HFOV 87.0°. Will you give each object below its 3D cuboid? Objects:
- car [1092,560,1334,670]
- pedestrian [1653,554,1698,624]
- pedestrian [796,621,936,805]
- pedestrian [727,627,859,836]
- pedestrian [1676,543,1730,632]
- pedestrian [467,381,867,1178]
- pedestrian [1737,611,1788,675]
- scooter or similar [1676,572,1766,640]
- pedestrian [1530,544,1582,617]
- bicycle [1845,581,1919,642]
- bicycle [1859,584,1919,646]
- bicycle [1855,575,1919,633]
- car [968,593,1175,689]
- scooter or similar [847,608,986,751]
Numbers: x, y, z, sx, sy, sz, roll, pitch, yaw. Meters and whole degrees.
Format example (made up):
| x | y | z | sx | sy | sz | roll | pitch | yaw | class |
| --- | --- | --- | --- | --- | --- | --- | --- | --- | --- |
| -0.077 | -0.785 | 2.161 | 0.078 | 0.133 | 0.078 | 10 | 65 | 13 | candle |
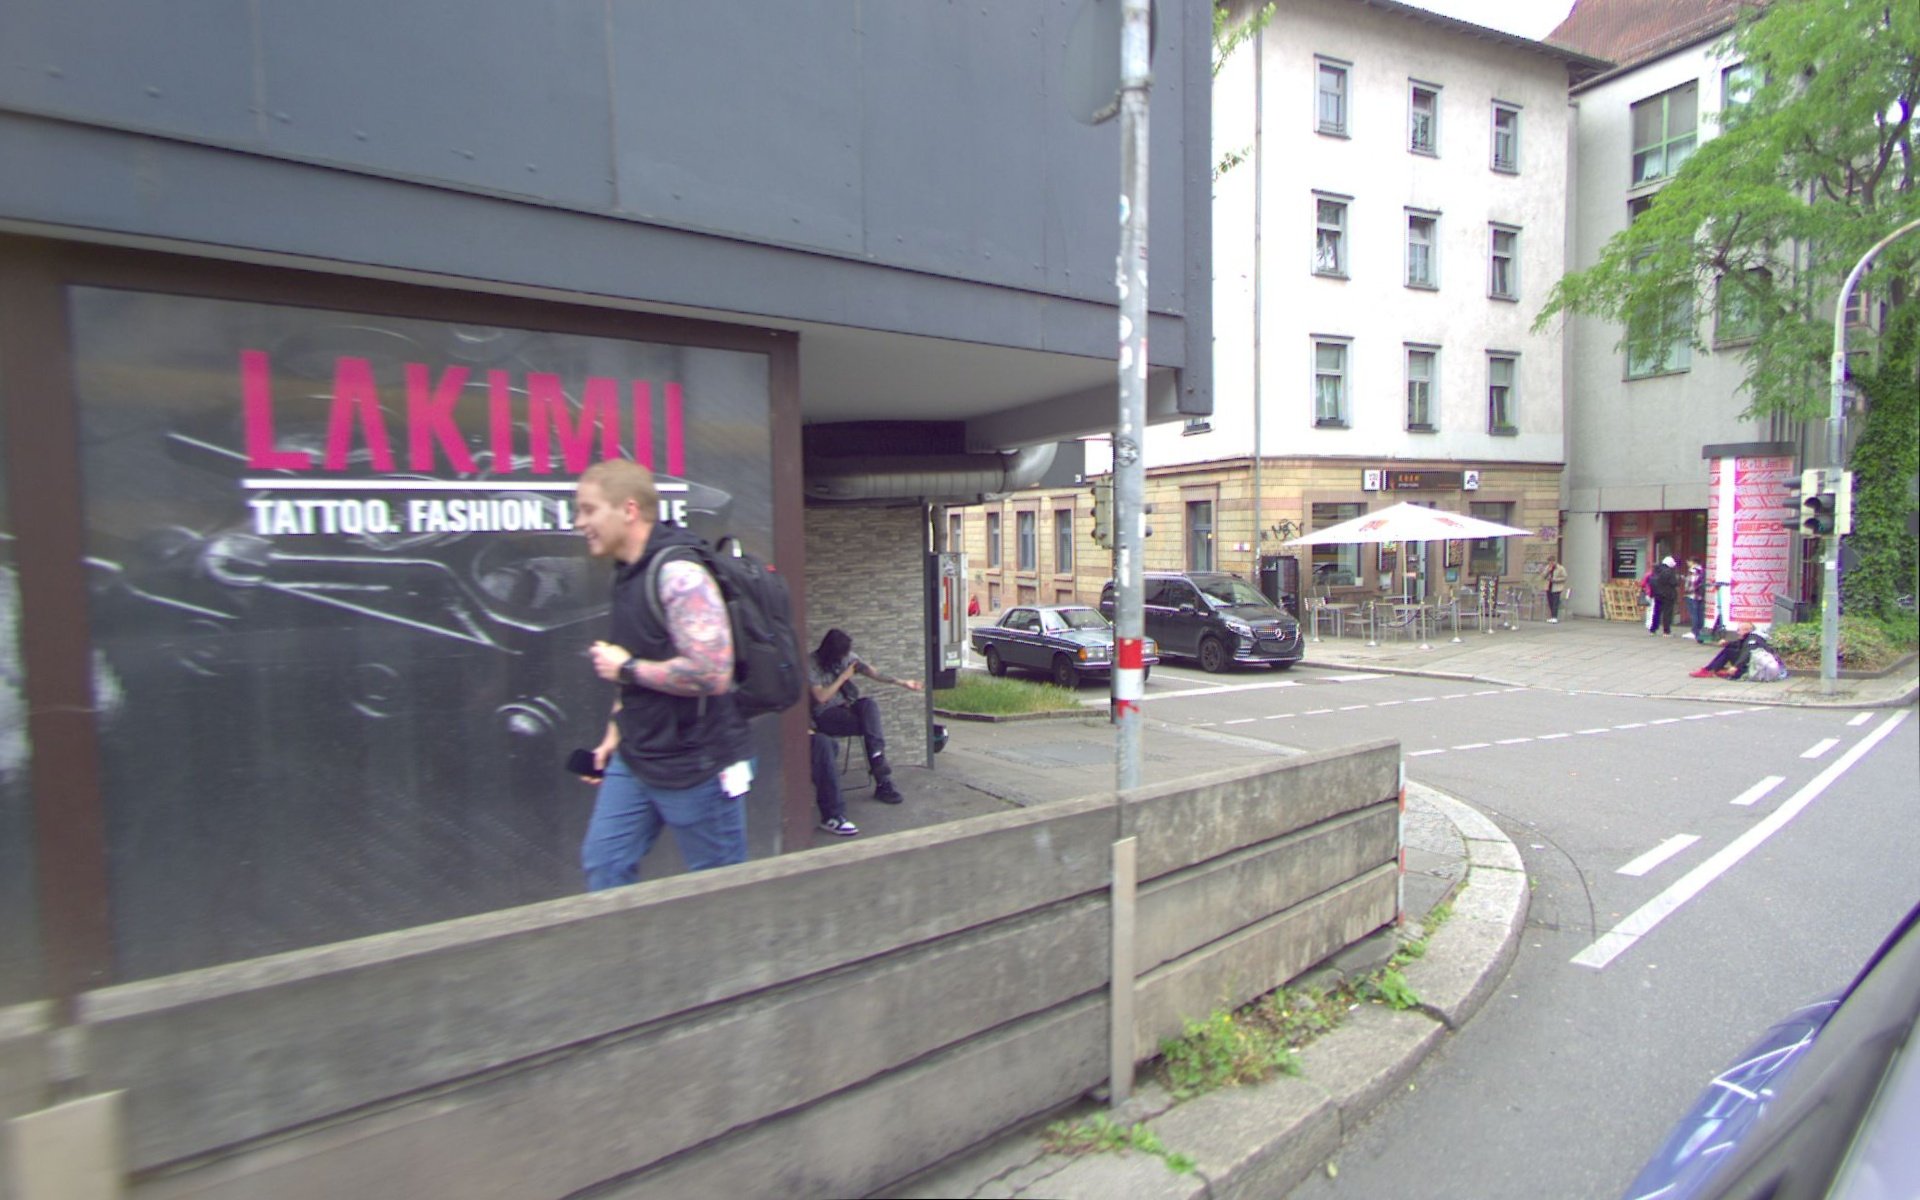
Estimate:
| x | y | z | sx | sy | sz | roll | pitch | yaw | class |
| --- | --- | --- | --- | --- | --- | --- | --- | --- | --- |
| 5.006 | 0.228 | 20.919 | 1.959 | 1.930 | 5.160 | -2 | 2 | -26 | car |
| 15.883 | -0.249 | 22.471 | 0.652 | 1.542 | 0.625 | 0 | 1 | -35 | pedestrian |
| -0.728 | 0.784 | 7.537 | 0.727 | 1.203 | 1.111 | 0 | 0 | -23 | pedestrian |
| -1.127 | 0.829 | 6.759 | 0.703 | 1.251 | 0.738 | 0 | 0 | -25 | pedestrian |
| 16.256 | -0.277 | 22.146 | 0.863 | 1.913 | 0.707 | 0 | 1 | -36 | pedestrian |
| -0.825 | 0.399 | 2.853 | 0.868 | 1.808 | 0.722 | -1 | 1 | -40 | pedestrian |
| 12.023 | 0.628 | 15.160 | 0.572 | 0.922 | 0.485 | 0 | 1 | -38 | pedestrian |
| 15.204 | 0.095 | 20.255 | 0.618 | 1.269 | 1.393 | 0 | 3 | -6 | scooter or similar |
| 15.563 | -0.500 | 26.431 | 0.720 | 1.856 | 0.905 | 0 | 0 | -13 | pedestrian |
| 19.300 | 0.224 | 20.979 | 1.421 | 1.237 | 0.533 | 0 | 0 | 45 | bicycle |
| 20.014 | 0.319 | 21.164 | 1.741 | 1.236 | 0.533 | 4 | 3 | 45 | bicycle |
| 20.797 | 0.079 | 22.201 | 1.688 | 1.237 | 0.533 | 2 | 2 | 45 | bicycle |
| 1.915 | 0.656 | 18.987 | 1.725 | 1.373 | 4.602 | -3 | 3 | -24 | car |
| -0.465 | 0.780 | 10.511 | 1.383 | 1.366 | 0.589 | 0 | 0 | 37 | scooter or similar |
